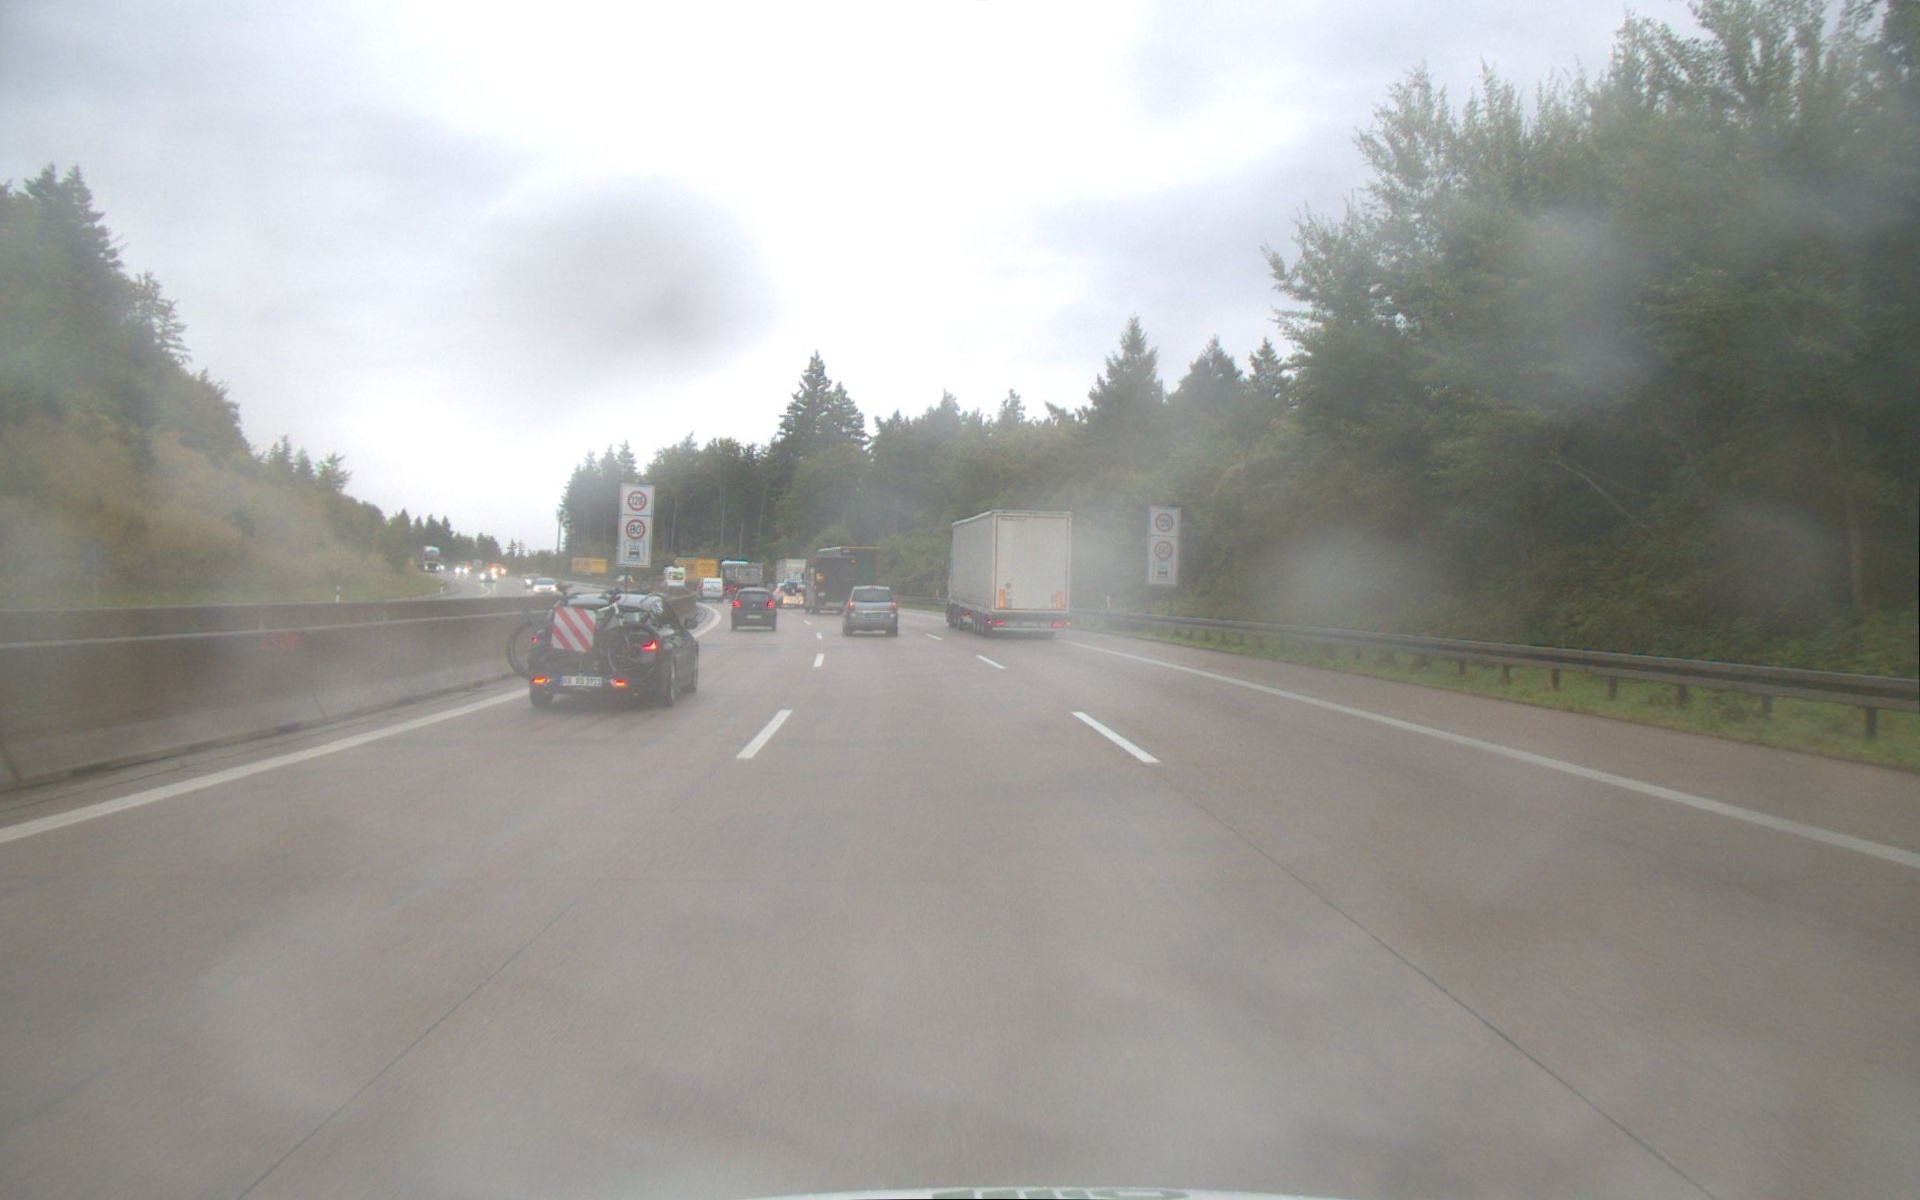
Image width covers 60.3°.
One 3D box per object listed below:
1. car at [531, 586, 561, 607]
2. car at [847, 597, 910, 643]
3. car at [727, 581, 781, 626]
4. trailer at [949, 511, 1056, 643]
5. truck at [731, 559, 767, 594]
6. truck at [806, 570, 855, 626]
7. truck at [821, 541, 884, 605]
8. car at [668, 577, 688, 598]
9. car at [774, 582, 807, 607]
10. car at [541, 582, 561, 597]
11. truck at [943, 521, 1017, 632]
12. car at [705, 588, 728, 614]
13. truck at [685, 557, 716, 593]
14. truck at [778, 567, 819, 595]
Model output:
[{"bbox_3d":[-31.830,-0.291,127.204,1.743,1.544,3.993,0,0,-8],"label":"car"},{"bbox_3d":[-2.644,0.623,54.445,1.521,1.375,3.686,2,1,5],"label":"car"},{"bbox_3d":[-7.276,0.107,58.571,1.651,1.487,3.681,2,1,-4],"label":"car"},{"bbox_3d":[1.315,-0.795,58.217,2.372,4.139,12.042,1,1,-5],"label":"trailer"},{"bbox_3d":[-18.584,-2.117,145.747,3.024,2.956,7.890,1,1,-8],"label":"truck"},{"bbox_3d":[-7.286,-0.166,92.555,2.227,2.937,7.890,1,1,-8],"label":"truck"},{"bbox_3d":[-7.527,-1.842,114.478,3.307,4.203,10.415,1,1,-9],"label":"truck"},{"bbox_3d":[-29.485,-1.316,172.808,1.958,2.095,3.990,0,0,-11],"label":"car"},{"bbox_3d":[-11.065,-0.365,108.006,1.844,1.498,3.998,2,1,-3],"label":"car"},{"bbox_3d":[-44.243,-1.141,178.867,1.744,1.667,3.991,0,0,-10],"label":"car"},{"bbox_3d":[0.738,-0.921,64.937,2.372,4.139,4.973,1,0,-5],"label":"truck"},{"bbox_3d":[-18.847,0.083,128.097,1.693,2.049,3.650,0,0,-8],"label":"car"},{"bbox_3d":[-31.840,-3.030,202.871,3.672,4.283,6.801,0,0,-10],"label":"truck"},{"bbox_3d":[-14.367,-1.694,146.729,2.922,2.349,6.649,3,0,-11],"label":"truck"}]
